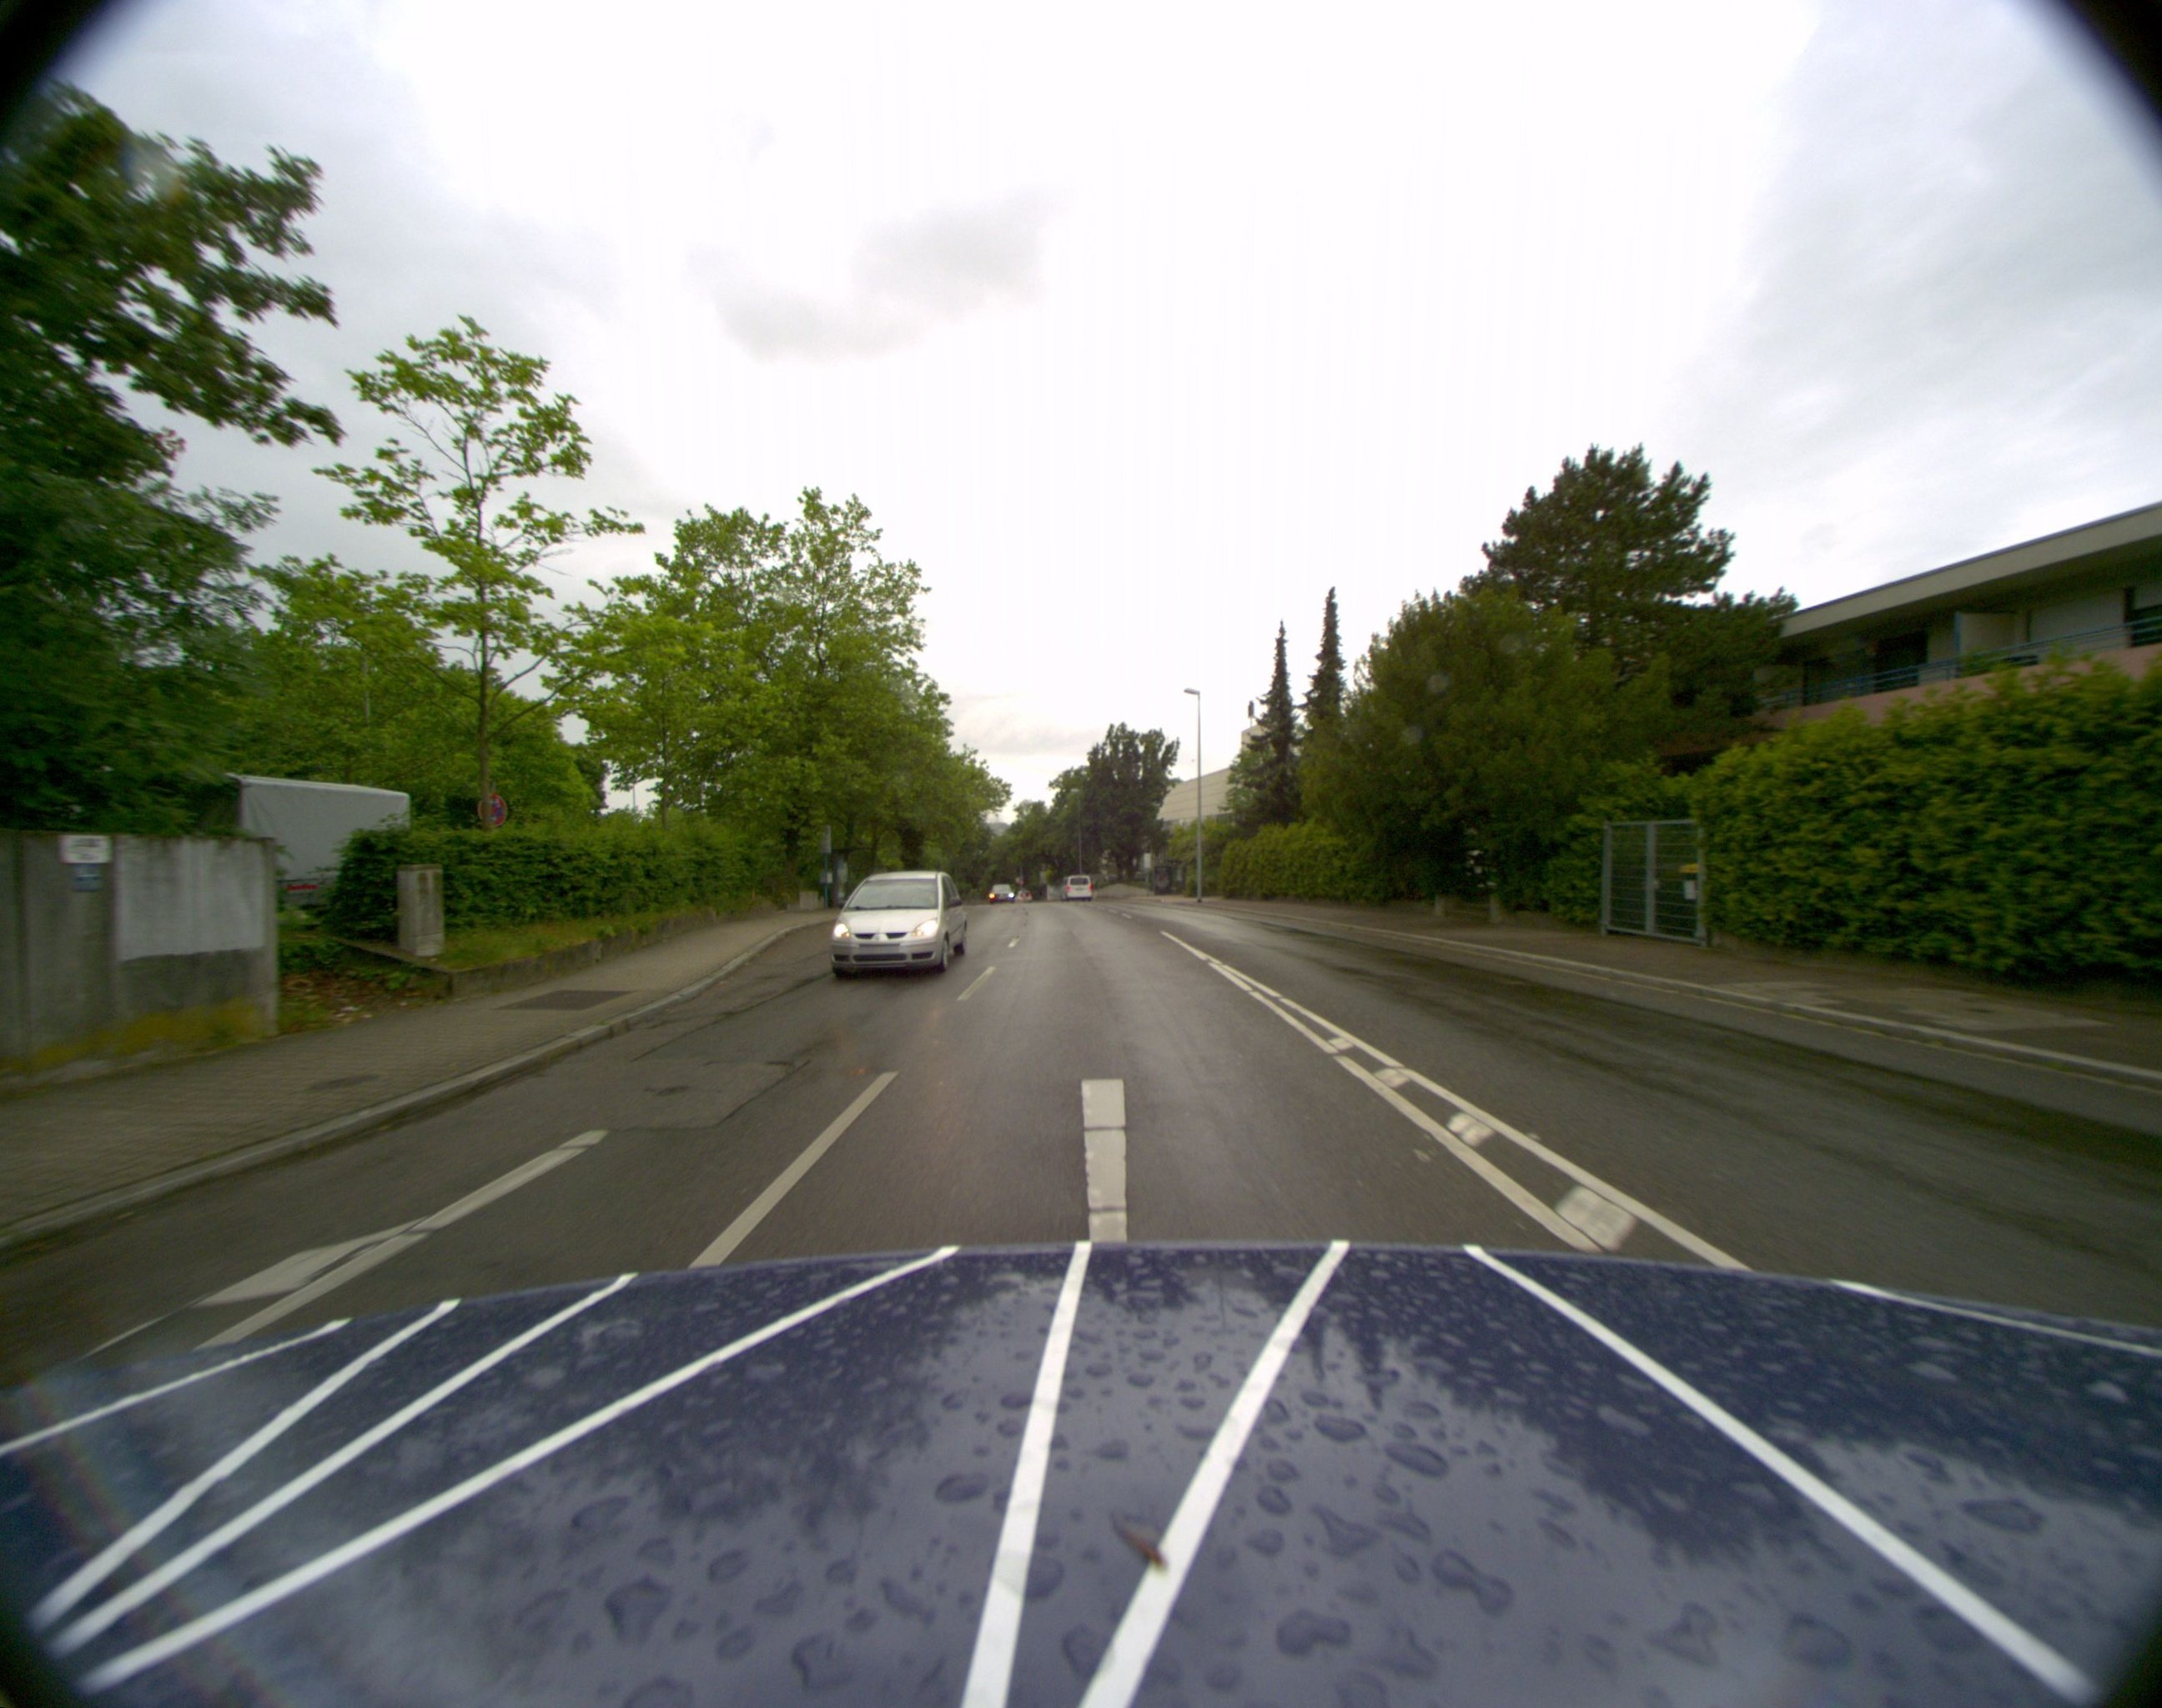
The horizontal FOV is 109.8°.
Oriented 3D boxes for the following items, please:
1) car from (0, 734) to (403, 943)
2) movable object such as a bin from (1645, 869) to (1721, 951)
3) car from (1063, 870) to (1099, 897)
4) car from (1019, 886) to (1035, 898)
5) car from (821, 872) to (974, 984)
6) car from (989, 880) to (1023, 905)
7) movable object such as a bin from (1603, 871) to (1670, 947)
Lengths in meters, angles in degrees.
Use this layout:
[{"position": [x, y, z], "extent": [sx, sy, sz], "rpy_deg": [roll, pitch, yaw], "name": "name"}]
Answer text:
[{"position": [-11.560, -0.039, 10.056], "extent": [2.000, 2.212, 4.132], "rpy_deg": [-2, -3, -11], "name": "car"}, {"position": [10.116, 0.921, 12.793], "extent": [0.549, 1.318, 0.806], "rpy_deg": [-2, -1, -3], "name": "movable object such as a bin"}, {"position": [-0.031, 2.222, 57.003], "extent": [1.870, 1.905, 5.026], "rpy_deg": [1, -2, -10], "name": "car"}, {"position": [-6.626, 4.701, 93.297], "extent": [1.690, 1.444, 3.397], "rpy_deg": [-1, -2, -8], "name": "car"}, {"position": [-2.863, 1.097, 12.696], "extent": [1.640, 1.495, 4.000], "rpy_deg": [-3, -1, -2], "name": "car"}, {"position": [-5.557, 2.914, 56.790], "extent": [2.035, 1.690, 4.002], "rpy_deg": [-3, -3, -1], "name": "car"}, {"position": [10.075, 0.988, 13.802], "extent": [0.549, 1.318, 0.806], "rpy_deg": [-2, -1, -3], "name": "movable object such as a bin"}]
